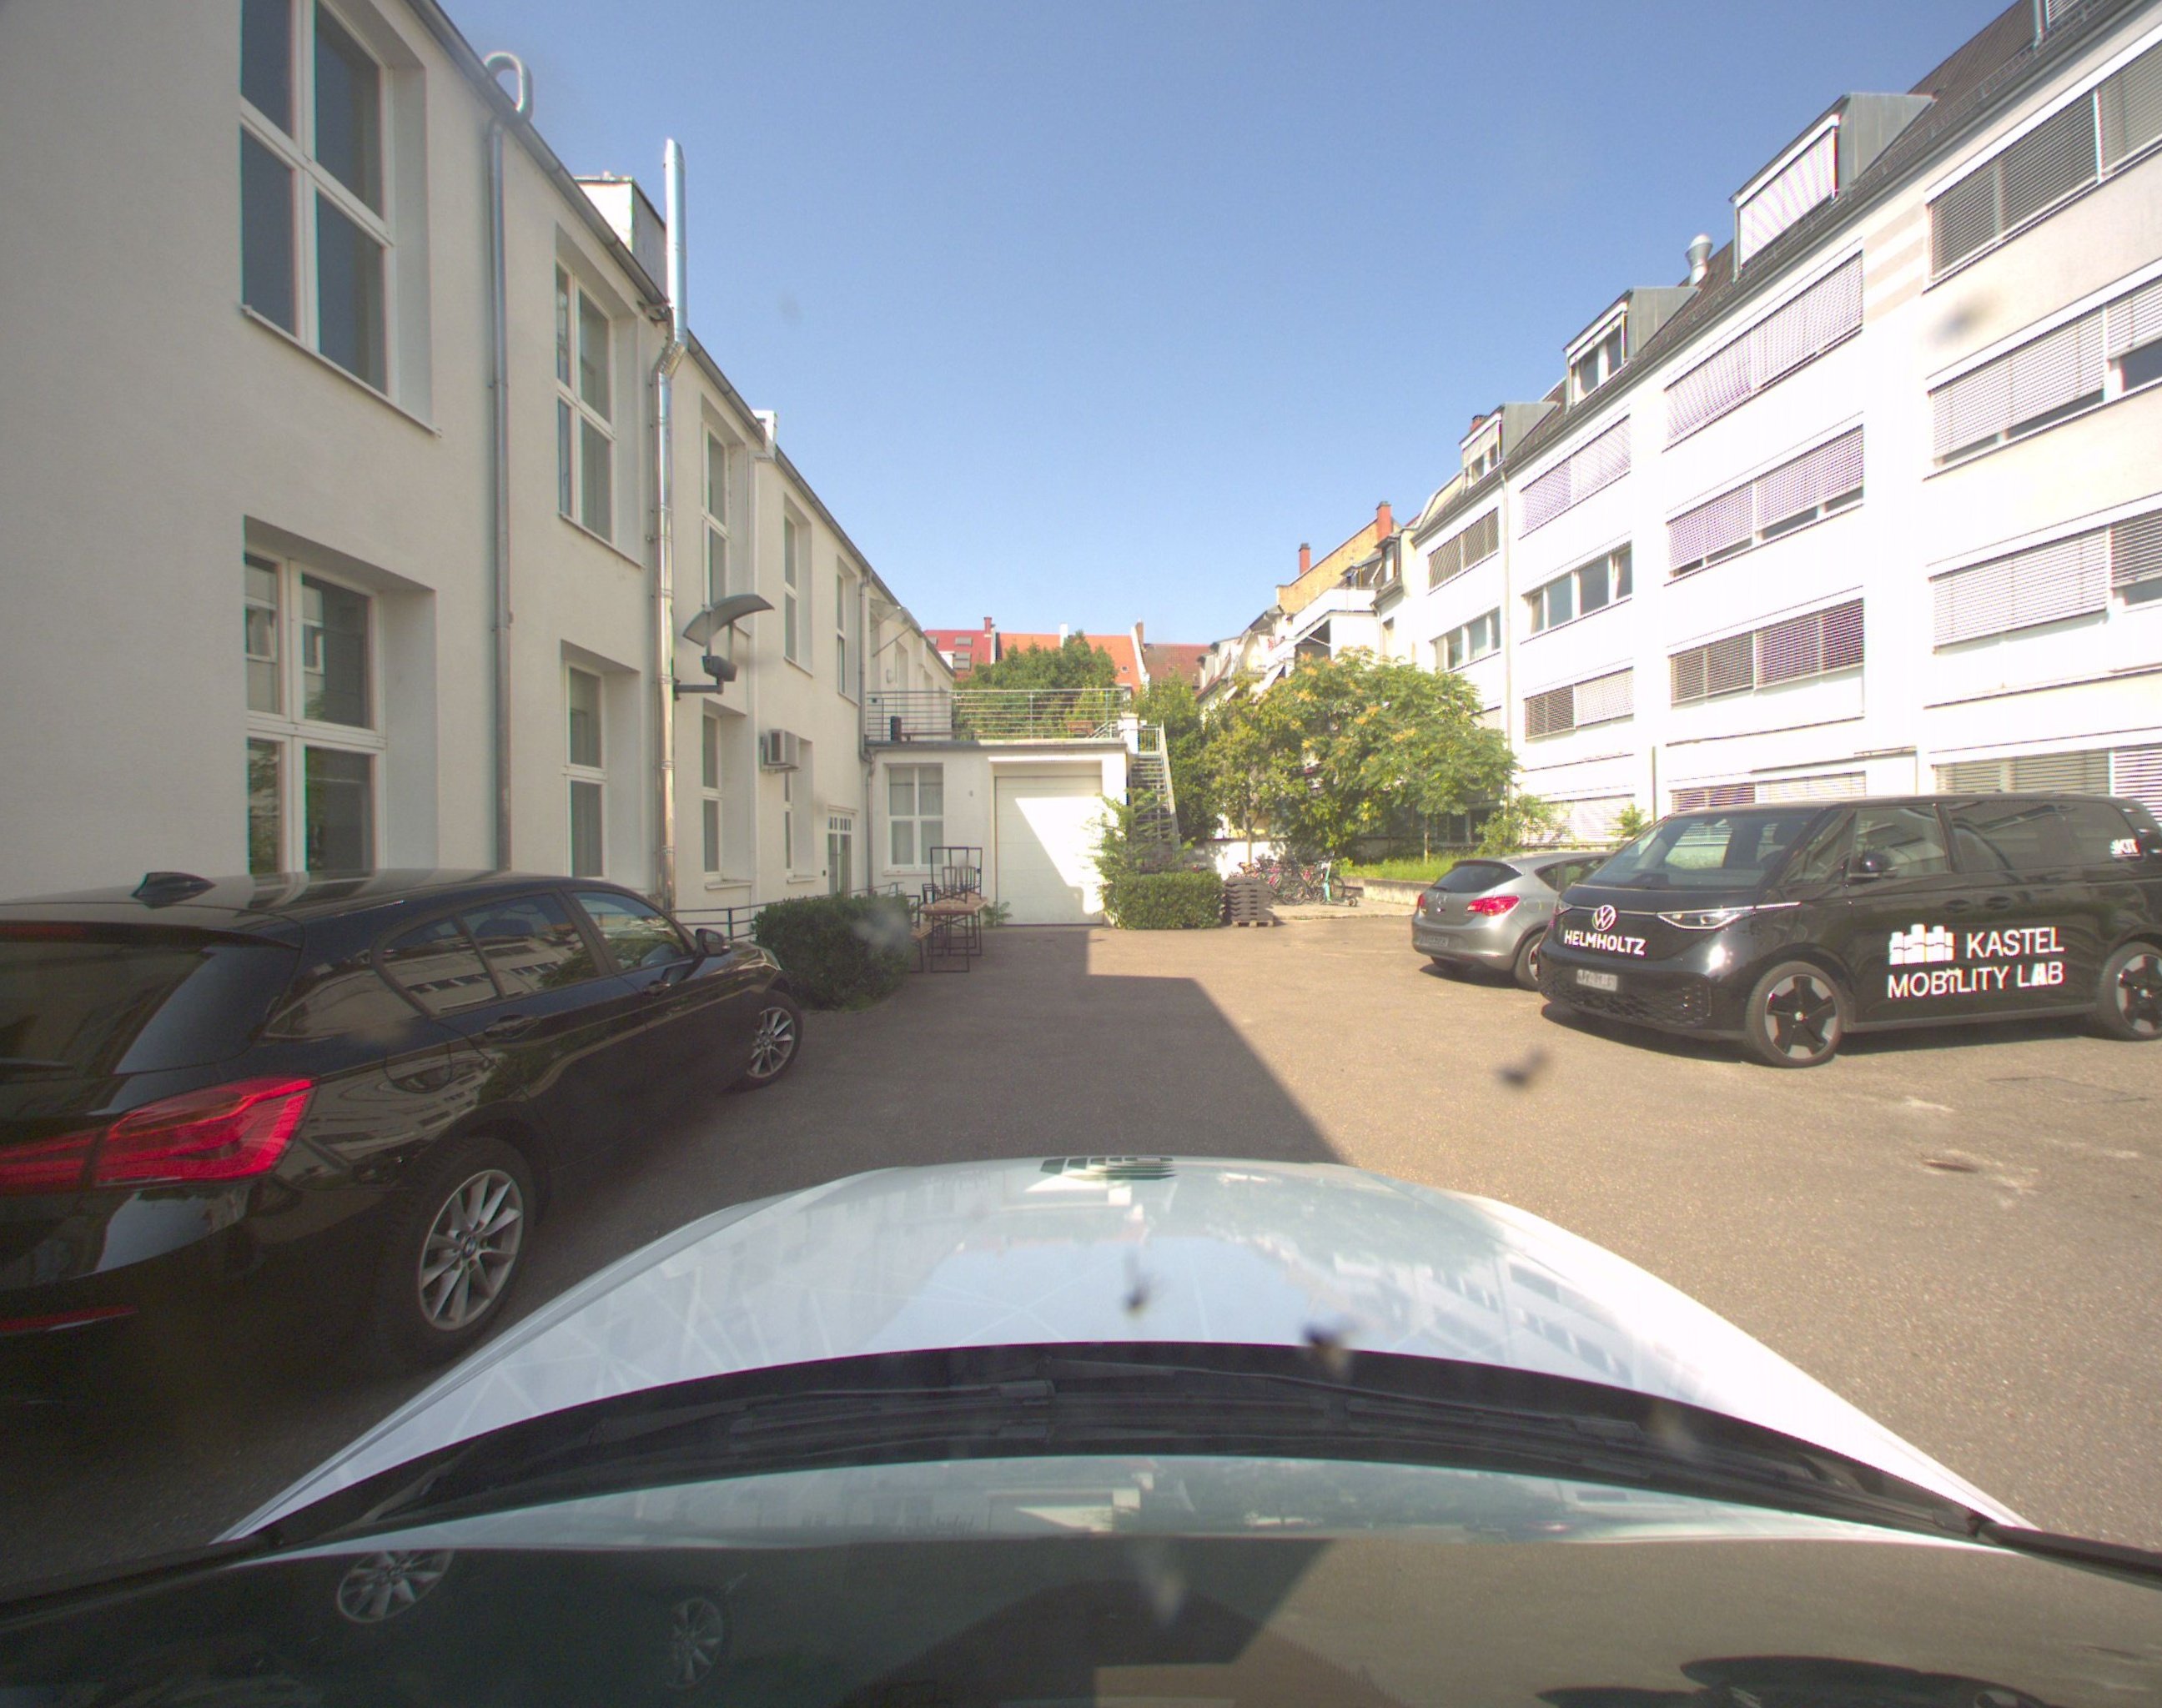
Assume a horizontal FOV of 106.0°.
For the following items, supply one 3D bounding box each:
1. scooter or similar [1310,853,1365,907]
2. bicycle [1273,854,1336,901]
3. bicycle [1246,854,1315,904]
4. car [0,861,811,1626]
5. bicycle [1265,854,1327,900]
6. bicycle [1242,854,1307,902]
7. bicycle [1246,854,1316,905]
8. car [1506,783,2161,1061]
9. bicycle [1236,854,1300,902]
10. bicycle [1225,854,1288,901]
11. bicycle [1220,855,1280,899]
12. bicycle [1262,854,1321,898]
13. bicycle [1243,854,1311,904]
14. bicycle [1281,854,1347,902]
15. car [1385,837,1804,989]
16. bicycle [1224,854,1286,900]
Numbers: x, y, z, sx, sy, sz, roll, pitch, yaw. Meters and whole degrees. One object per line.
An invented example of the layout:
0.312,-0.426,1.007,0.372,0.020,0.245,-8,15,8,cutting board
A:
6.280,0.621,19.962,0.381,1.261,1.335,-2,0,-31,scooter or similar
6.031,0.630,22.036,1.611,1.214,0.425,-2,0,13,bicycle
5.027,0.629,20.533,1.617,1.214,0.327,-2,0,2,bicycle
-2.647,0.770,3.517,1.683,1.459,3.921,0,0,-1,car
5.946,0.634,22.611,1.612,1.214,0.425,-2,0,13,bicycle
5.045,0.633,21.278,1.613,1.214,0.328,-2,0,10,bicycle
4.956,0.628,20.212,1.617,1.214,0.327,-2,0,2,bicycle
6.138,0.428,6.632,4.499,1.794,1.877,-1,-1,-9,car
4.973,0.636,21.642,1.611,1.214,0.328,-2,0,13,bicycle
4.796,0.642,22.320,1.618,1.214,0.424,-2,0,-1,bicycle
4.895,0.648,23.556,1.620,1.214,0.423,-2,0,-5,bicycle
6.105,0.639,23.637,1.612,1.214,0.425,-2,0,13,bicycle
5.003,0.631,20.827,1.617,1.214,0.327,-2,0,2,bicycle
6.044,0.624,21.174,1.611,1.214,0.328,-2,0,15,bicycle
5.854,0.607,9.517,3.931,1.482,1.769,-1,-1,-9,car
4.890,0.645,22.954,1.620,1.214,0.423,-2,0,-5,bicycle
